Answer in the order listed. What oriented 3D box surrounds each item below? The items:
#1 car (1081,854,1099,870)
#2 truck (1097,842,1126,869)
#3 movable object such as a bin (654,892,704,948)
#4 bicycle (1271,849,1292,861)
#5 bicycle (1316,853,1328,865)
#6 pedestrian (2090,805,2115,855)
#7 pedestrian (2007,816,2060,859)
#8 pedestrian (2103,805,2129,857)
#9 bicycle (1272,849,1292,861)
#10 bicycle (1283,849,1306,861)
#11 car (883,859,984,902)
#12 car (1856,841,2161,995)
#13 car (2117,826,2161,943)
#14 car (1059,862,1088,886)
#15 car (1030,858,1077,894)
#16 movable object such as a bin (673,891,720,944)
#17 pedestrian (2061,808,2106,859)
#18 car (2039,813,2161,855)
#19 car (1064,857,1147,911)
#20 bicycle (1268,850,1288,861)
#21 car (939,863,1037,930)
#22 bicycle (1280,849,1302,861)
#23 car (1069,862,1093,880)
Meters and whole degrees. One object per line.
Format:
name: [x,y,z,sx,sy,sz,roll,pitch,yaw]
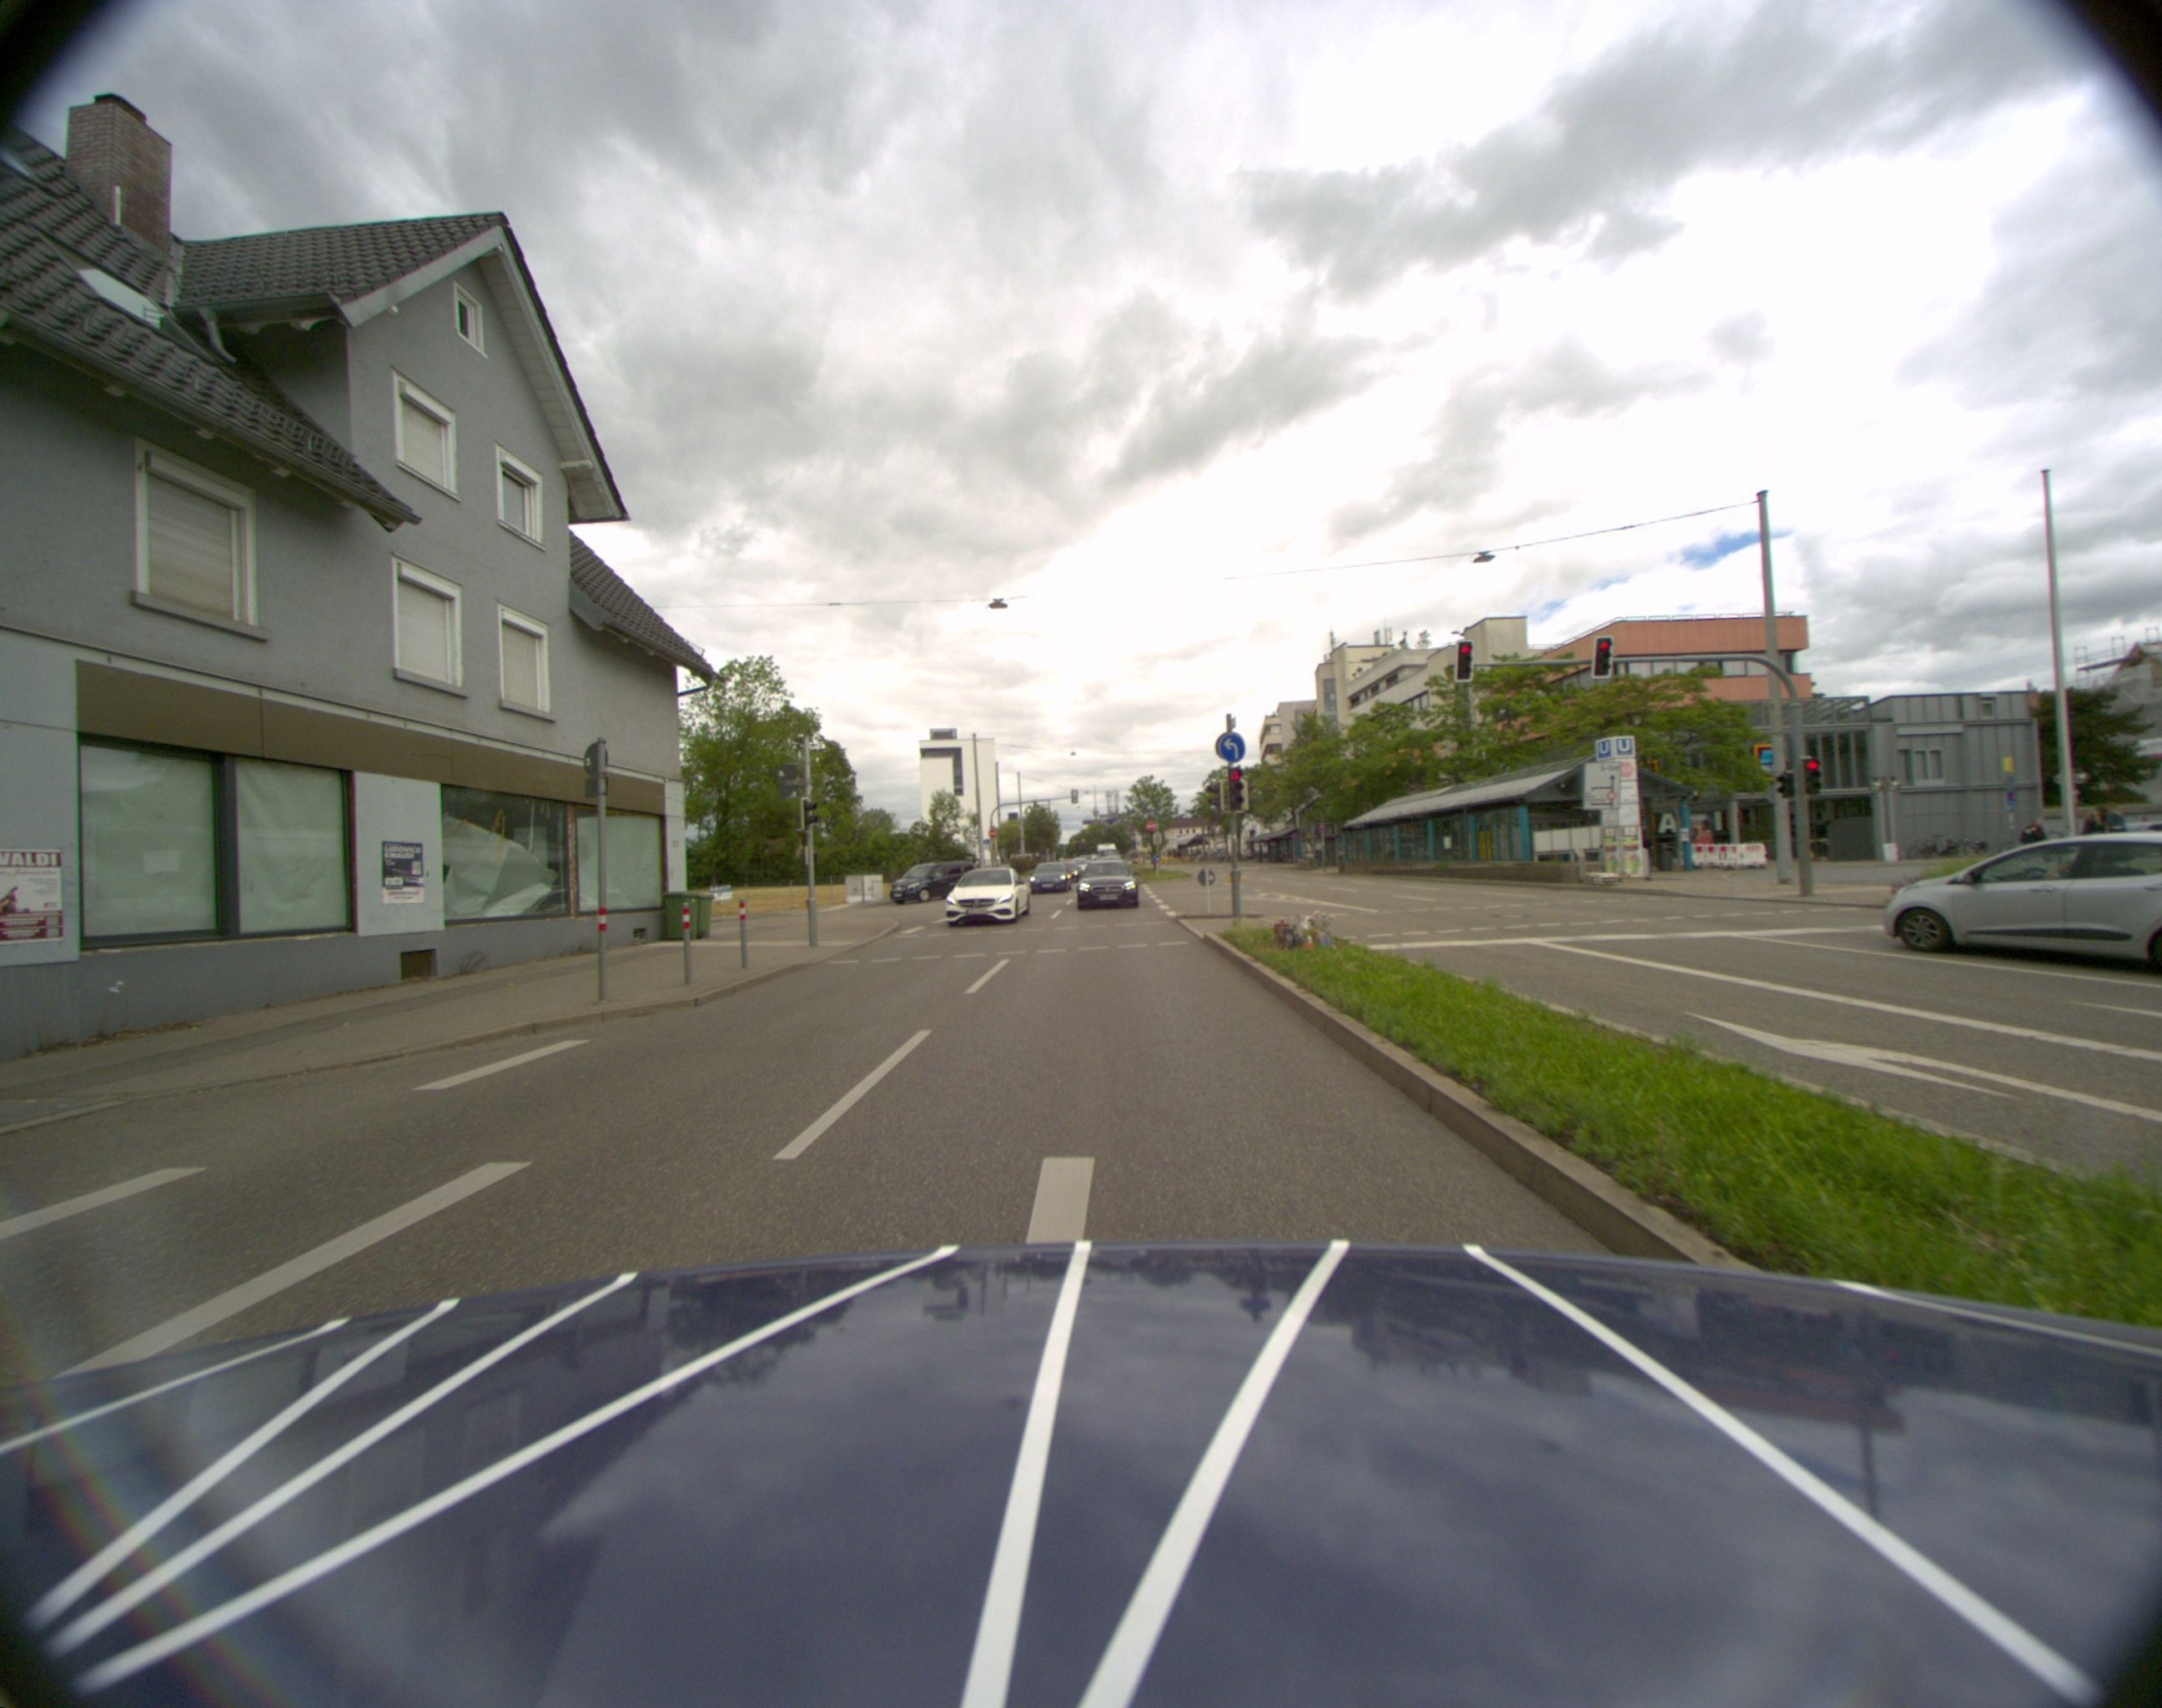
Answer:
car: [1.011,0.902,88.207,2.020,1.759,4.000,-2,0,0]
truck: [3.926,0.186,98.258,3.119,3.208,6.523,-2,0,-2]
movable object such as a bin: [-8.563,1.398,16.201,0.610,1.098,0.710,-3,0,2]
bicycle: [21.712,0.102,82.154,2.069,1.084,0.542,-4,1,2]
bicycle: [21.533,0.478,67.943,0.521,1.021,2.051,-4,0,3]
pedestrian: [32.094,-0.759,23.872,0.486,1.539,0.382,-3,1,-43]
pedestrian: [33.460,-0.560,26.700,0.591,1.452,0.992,-3,0,2]
pedestrian: [31.798,-0.705,23.346,0.486,1.539,0.382,-3,1,-43]
bicycle: [22.002,0.097,83.145,2.069,1.132,0.542,-4,1,2]
bicycle: [22.148,0.128,78.965,2.206,1.084,0.542,-4,1,-3]
car: [-7.321,1.275,38.173,2.011,1.877,4.884,-2,1,34]
car: [11.576,0.625,8.574,1.749,1.457,3.789,-3,0,0]
car: [14.750,0.378,8.187,1.819,1.499,4.001,-2,0,3]
car: [-0.550,1.364,51.980,1.769,1.440,4.419,-2,0,-3]
car: [-1.291,1.037,37.225,1.798,1.464,4.311,-4,0,3]
movable object such as a bin: [-8.581,1.407,16.982,0.627,1.098,0.710,-3,0,2]
pedestrian: [30.918,-0.633,23.439,0.531,1.539,0.752,-3,1,-43]
car: [44.670,-0.863,32.904,3.998,1.586,1.999,-3,0,-3]
car: [0.925,0.887,24.715,2.057,1.477,4.976,-2,0,9]
bicycle: [21.811,0.125,84.076,2.069,1.084,0.542,-4,1,2]
car: [-2.401,1.075,20.856,1.798,1.464,4.700,-2,0,3]
bicycle: [22.074,0.144,79.749,2.070,1.132,0.542,-4,1,-3]
car: [0.018,1.533,68.756,1.798,1.464,4.311,-2,0,3]
